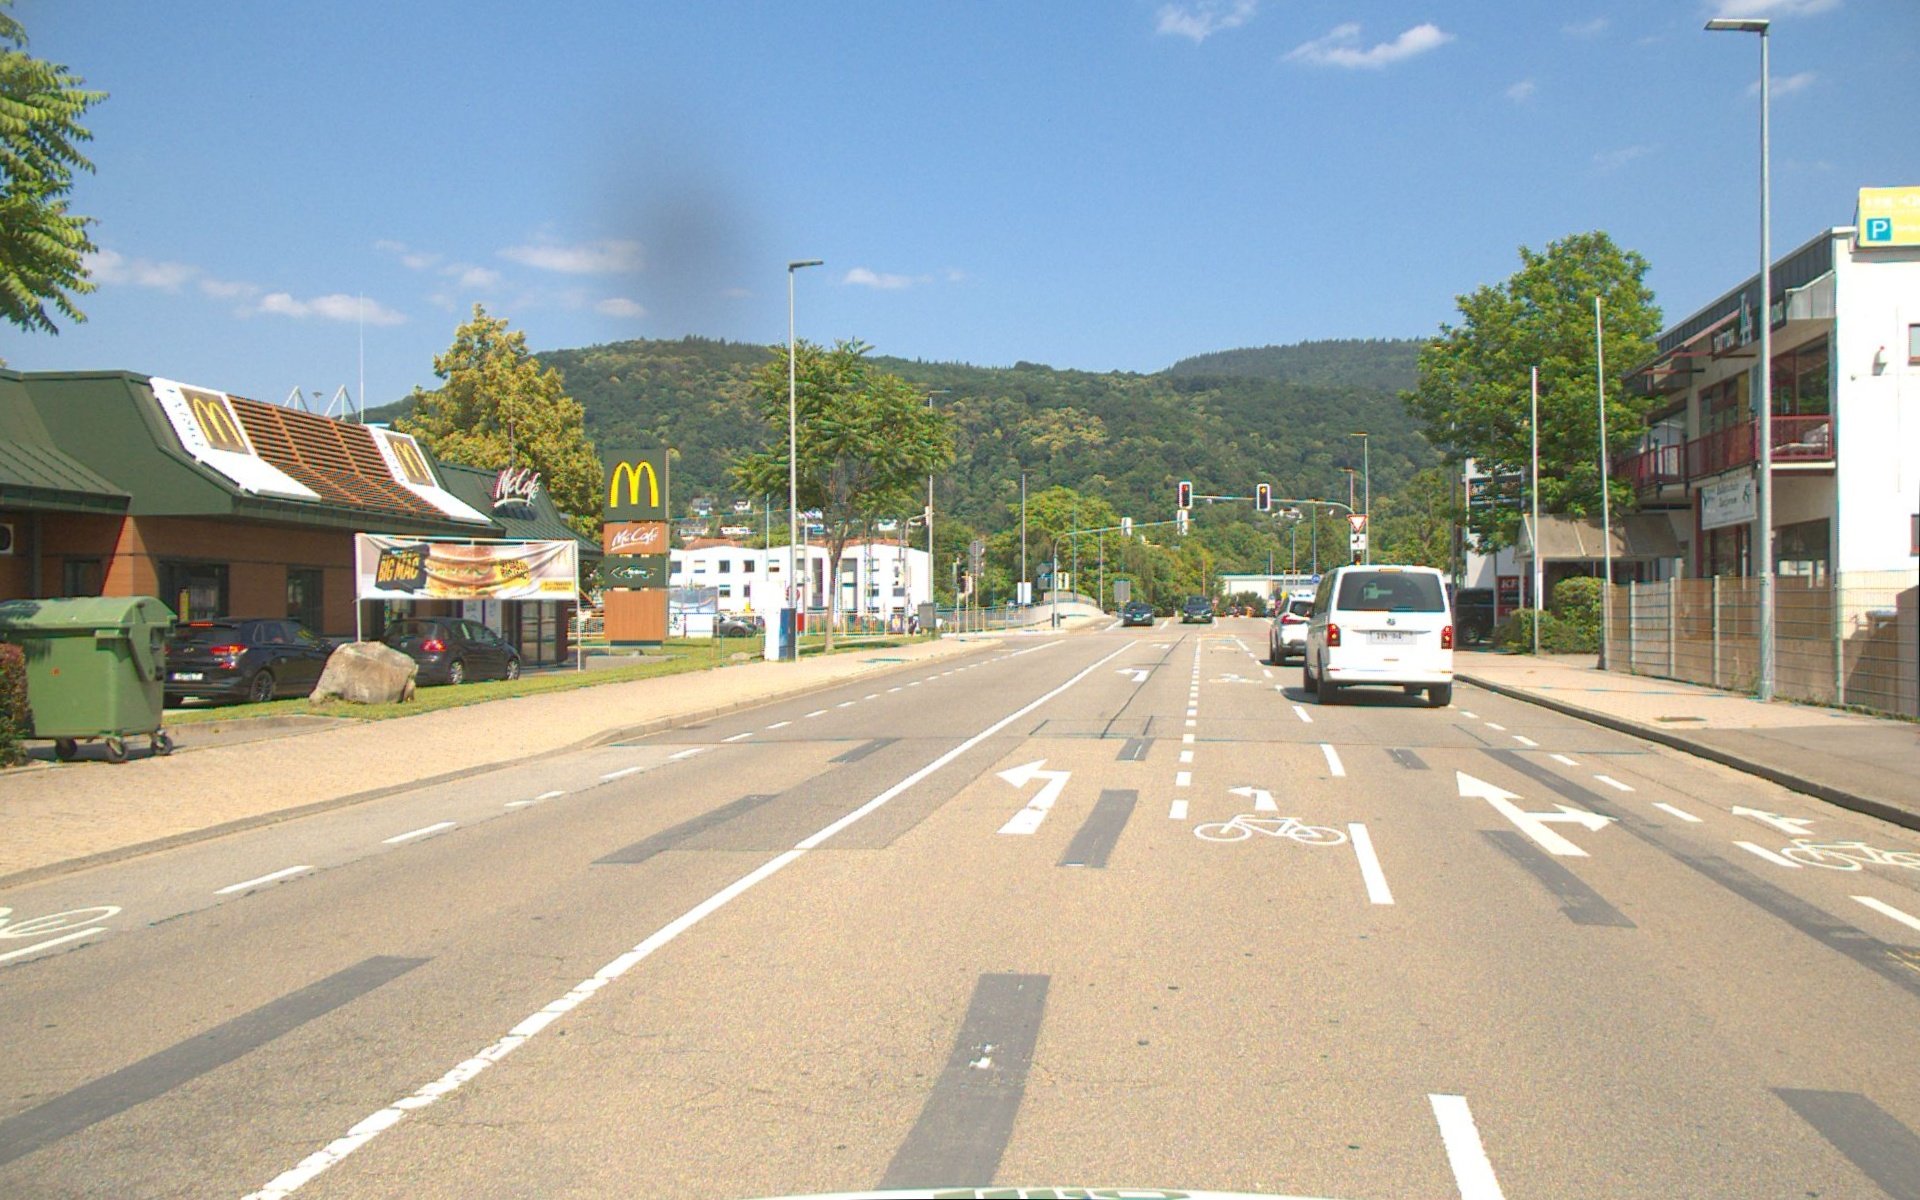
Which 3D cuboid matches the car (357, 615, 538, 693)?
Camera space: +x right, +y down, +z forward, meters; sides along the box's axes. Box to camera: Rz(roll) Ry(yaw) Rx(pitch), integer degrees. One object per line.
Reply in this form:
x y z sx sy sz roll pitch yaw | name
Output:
-10.820 1.103 35.253 1.951 1.441 4.133 2 0 10 | car

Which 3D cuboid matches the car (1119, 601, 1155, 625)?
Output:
10.699 0.782 99.788 1.951 1.394 4.330 -1 0 8 | car

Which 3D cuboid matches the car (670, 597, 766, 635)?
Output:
-11.009 0.718 75.572 4.232 1.620 1.997 -1 0 -6 | car

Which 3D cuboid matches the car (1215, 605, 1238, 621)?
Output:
26.852 1.313 166.970 1.951 1.556 4.047 2 0 5 | car

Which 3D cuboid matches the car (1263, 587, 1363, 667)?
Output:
8.292 0.596 39.169 1.893 1.716 4.548 1 0 7 | car

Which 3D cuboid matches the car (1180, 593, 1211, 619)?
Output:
14.741 0.356 103.326 1.810 1.616 4.003 -1 0 9 | car

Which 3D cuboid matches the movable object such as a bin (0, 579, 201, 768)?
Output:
-7.882 0.632 14.949 1.418 1.618 1.307 -1 0 0 | movable object such as a bin

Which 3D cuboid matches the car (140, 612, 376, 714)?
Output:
-11.918 1.009 28.423 1.788 1.502 4.324 2 0 7 | car

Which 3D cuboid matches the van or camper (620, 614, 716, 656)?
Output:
-12.362 1.458 70.138 3.915 1.601 1.995 2 0 -11 | van or camper

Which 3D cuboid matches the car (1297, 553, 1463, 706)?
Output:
6.272 0.389 25.174 1.893 2.095 4.548 1 0 7 | car

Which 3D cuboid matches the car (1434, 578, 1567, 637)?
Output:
17.283 0.245 53.069 3.902 1.806 2.002 -1 0 15 | car
